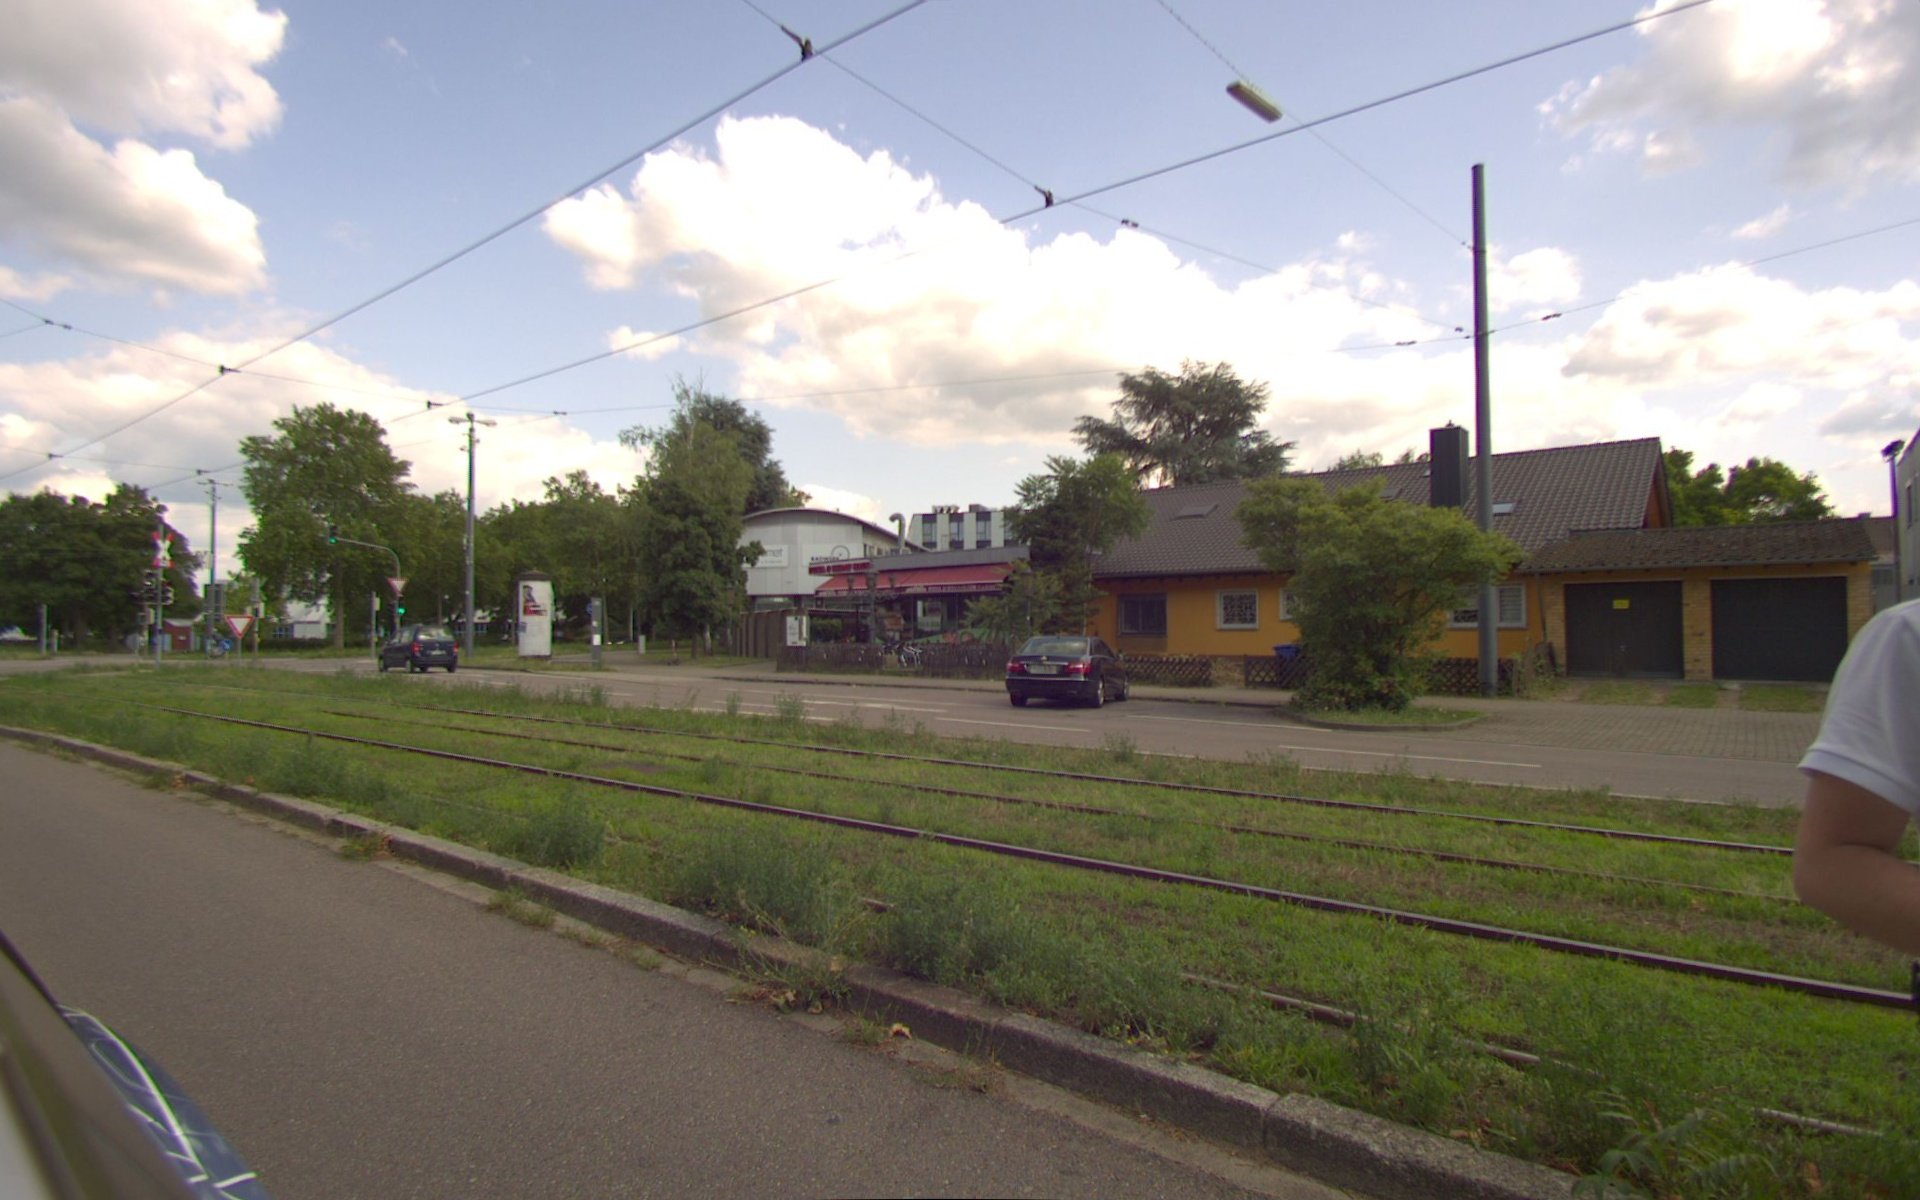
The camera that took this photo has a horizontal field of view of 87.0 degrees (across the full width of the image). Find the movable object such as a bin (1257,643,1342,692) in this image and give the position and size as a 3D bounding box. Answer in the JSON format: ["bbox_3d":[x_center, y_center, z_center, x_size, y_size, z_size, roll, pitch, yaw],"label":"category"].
[{"bbox_3d":[8.154,1.607,24.330,1.616,1.109,1.242,-2,-3,39],"label":"movable object such as a bin"}]

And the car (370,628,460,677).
[{"bbox_3d":[-19.442,1.822,36.052,3.495,1.639,1.759,-1,-2,42],"label":"car"}]

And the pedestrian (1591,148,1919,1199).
[{"bbox_3d":[1.273,0.438,0.946,0.795,1.699,0.850,-1,-1,2],"label":"pedestrian"}]

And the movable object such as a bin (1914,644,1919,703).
[{"bbox_3d":[17.679,1.332,18.347,0.479,1.050,0.488,-3,-2,40],"label":"movable object such as a bin"}]

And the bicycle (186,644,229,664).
[{"bbox_3d":[-44.247,3.184,59.514,2.046,1.068,0.802,-3,-2,9],"label":"bicycle"}]

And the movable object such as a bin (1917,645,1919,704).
[{"bbox_3d":[17.325,1.337,17.921,0.481,1.050,0.499,-3,-2,40],"label":"movable object such as a bin"}]

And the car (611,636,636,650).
[{"bbox_3d":[-37.775,4.838,113.681,1.674,1.535,3.859,0,-2,-3],"label":"car"}]

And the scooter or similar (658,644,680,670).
[{"bbox_3d":[-12.194,2.377,42.348,0.421,1.041,1.225,1,-3,-40],"label":"scooter or similar"}]

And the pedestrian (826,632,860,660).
[{"bbox_3d":[-5.027,1.975,43.548,0.931,1.155,1.141,-2,-3,41],"label":"pedestrian"}]

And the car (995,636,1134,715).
[{"bbox_3d":[2.311,1.494,21.194,1.869,1.418,4.620,0,-2,19],"label":"car"}]

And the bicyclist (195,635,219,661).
[{"bbox_3d":[-44.307,2.810,59.540,0.823,1.481,0.802,-2,-2,9],"label":"bicyclist"}]
